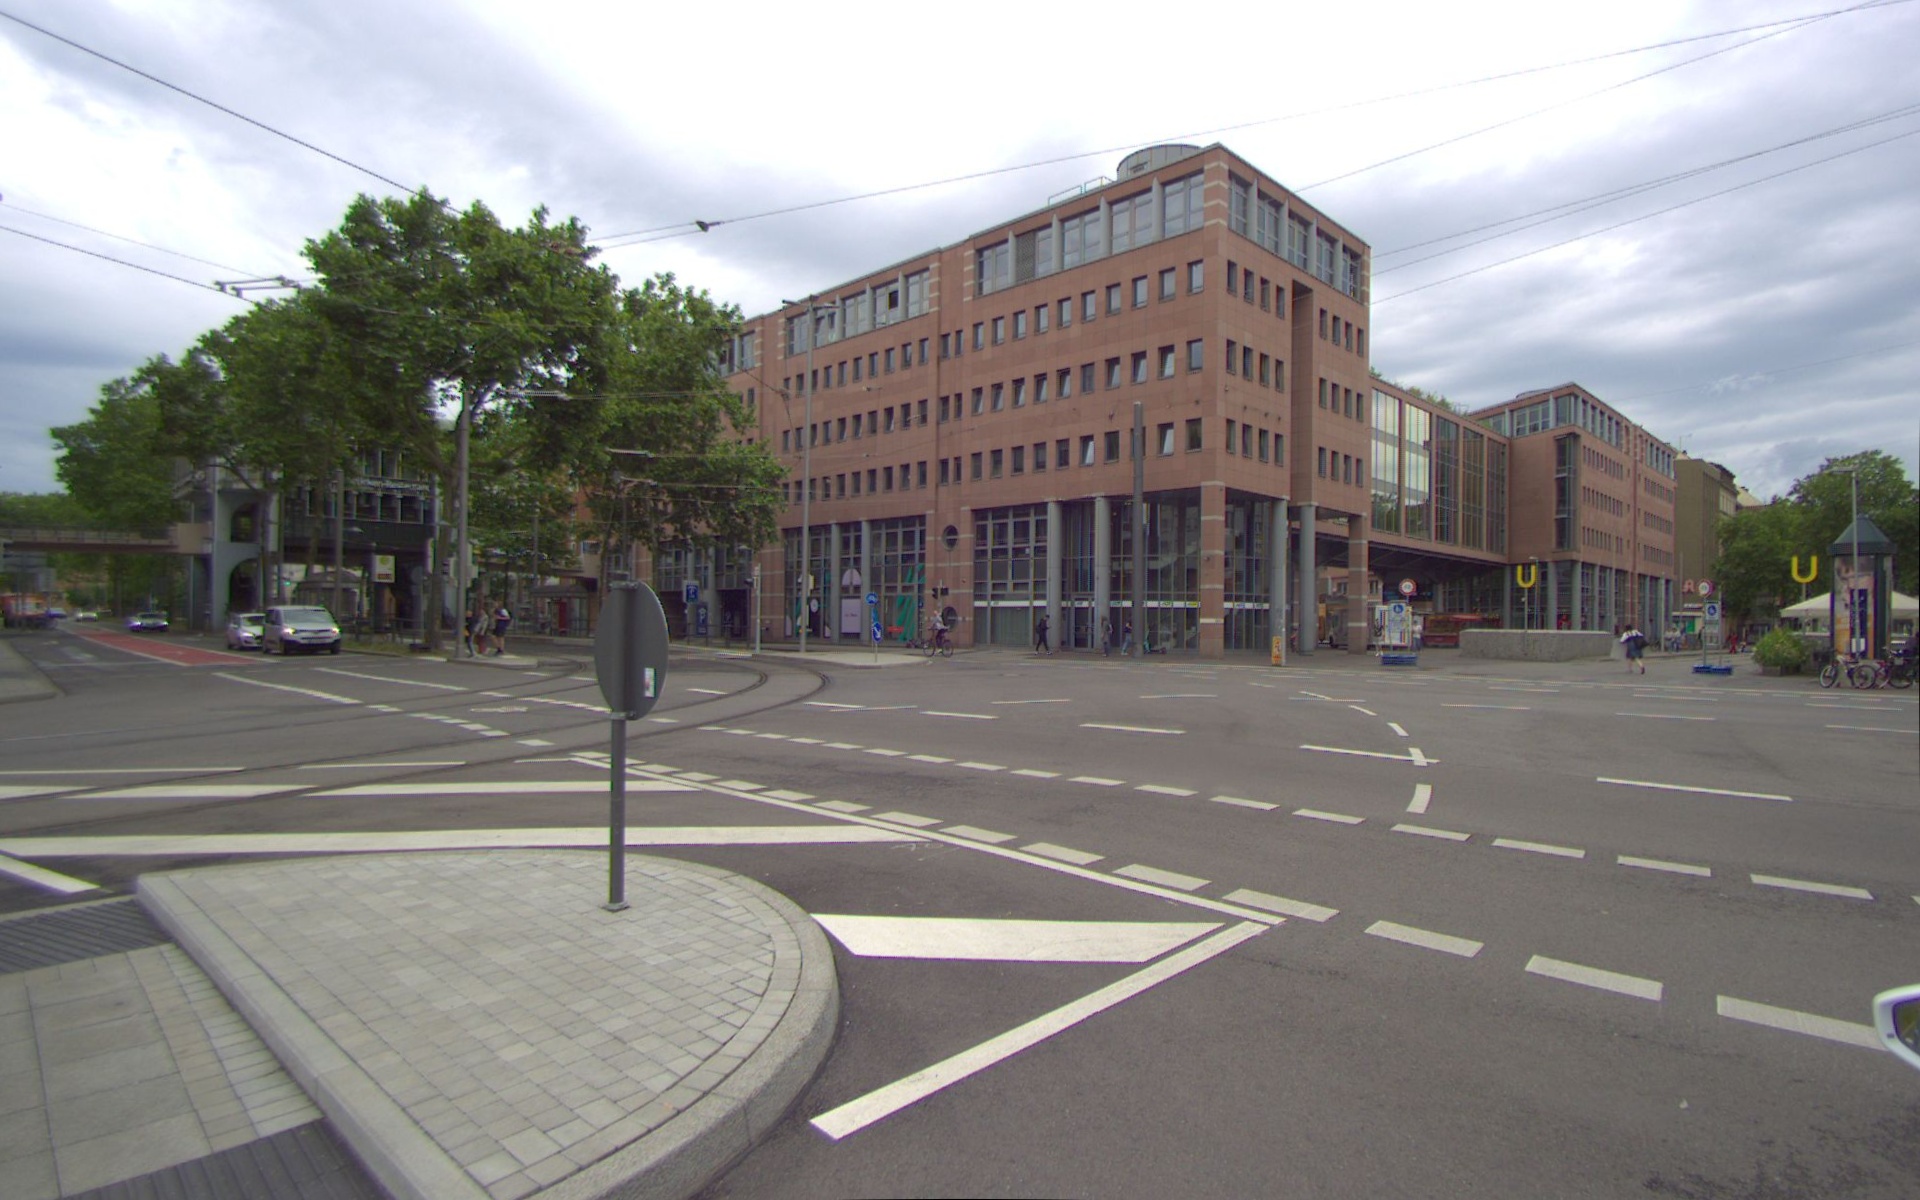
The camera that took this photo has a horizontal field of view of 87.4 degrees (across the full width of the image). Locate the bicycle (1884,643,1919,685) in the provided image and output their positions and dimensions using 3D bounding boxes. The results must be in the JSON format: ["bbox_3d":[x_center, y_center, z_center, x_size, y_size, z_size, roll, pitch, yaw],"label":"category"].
[{"bbox_3d":[26.098,1.749,27.098,0.433,1.080,1.683,2,0,-38],"label":"bicycle"}]

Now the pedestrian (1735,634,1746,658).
[{"bbox_3d":[59.055,3.482,76.005,0.593,1.737,0.653,1,0,38],"label":"pedestrian"}]

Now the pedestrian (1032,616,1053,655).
[{"bbox_3d":[3.672,1.579,44.750,0.729,1.710,0.574,2,-1,19],"label":"pedestrian"}]

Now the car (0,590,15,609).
[{"bbox_3d":[-93.564,-0.023,97.919,3.656,1.817,1.916,-1,-2,45],"label":"car"}]

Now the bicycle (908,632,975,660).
[{"bbox_3d":[-0.826,1.943,42.742,0.898,1.058,3.236,2,-1,-43],"label":"bicycle"}]

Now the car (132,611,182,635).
[{"bbox_3d":[-54.561,1.527,68.237,3.812,1.584,1.919,0,-2,40],"label":"car"}]

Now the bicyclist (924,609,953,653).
[{"bbox_3d":[-0.921,1.335,42.864,0.831,1.836,0.866,2,0,-42],"label":"bicyclist"}]

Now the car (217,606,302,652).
[{"bbox_3d":[-28.847,1.161,41.327,3.940,1.817,1.919,0,-1,40],"label":"car"}]

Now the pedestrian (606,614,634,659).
[{"bbox_3d":[-12.220,1.309,36.115,0.738,1.581,0.567,3,-2,-40],"label":"pedestrian"}]

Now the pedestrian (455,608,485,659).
[{"bbox_3d":[-15.787,1.087,32.357,0.565,1.595,0.627,1,-2,38],"label":"pedestrian"}]

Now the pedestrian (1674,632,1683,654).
[{"bbox_3d":[58.019,3.492,81.115,0.593,1.737,0.653,1,0,38],"label":"pedestrian"}]

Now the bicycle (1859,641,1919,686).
[{"bbox_3d":[26.137,1.756,27.905,1.675,1.187,0.435,1,0,39],"label":"bicycle"}]

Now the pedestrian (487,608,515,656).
[{"bbox_3d":[-15.882,1.113,34.784,0.565,1.633,0.627,1,-2,38],"label":"pedestrian"}]

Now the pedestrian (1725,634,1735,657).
[{"bbox_3d":[58.564,3.472,76.422,0.593,1.737,0.653,1,0,38],"label":"pedestrian"}]

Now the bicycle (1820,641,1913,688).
[{"bbox_3d":[25.165,1.784,27.923,1.840,1.187,0.530,1,0,32],"label":"bicycle"}]

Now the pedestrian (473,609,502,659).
[{"bbox_3d":[-15.894,1.144,33.812,0.565,1.633,0.627,1,-2,38],"label":"pedestrian"}]

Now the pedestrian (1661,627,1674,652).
[{"bbox_3d":[45.210,2.513,64.191,0.593,1.557,0.653,1,0,38],"label":"pedestrian"}]

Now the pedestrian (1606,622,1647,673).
[{"bbox_3d":[23.383,1.667,35.254,0.724,1.727,0.923,1,0,-25],"label":"pedestrian"}]

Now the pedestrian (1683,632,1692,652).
[{"bbox_3d":[63.292,3.668,87.379,0.593,1.737,0.653,1,0,38],"label":"pedestrian"}]

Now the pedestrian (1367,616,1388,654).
[{"bbox_3d":[20.663,1.733,49.726,0.728,1.866,0.694,2,0,-39],"label":"pedestrian"}]

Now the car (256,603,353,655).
[{"bbox_3d":[-24.060,1.042,36.807,3.940,1.817,1.919,0,-1,40],"label":"car"}]

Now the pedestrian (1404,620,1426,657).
[{"bbox_3d":[23.574,1.988,52.019,0.724,1.866,0.698,1,0,-25],"label":"pedestrian"}]

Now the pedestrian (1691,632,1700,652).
[{"bbox_3d":[64.882,3.736,88.628,0.593,1.737,0.653,1,0,38],"label":"pedestrian"}]

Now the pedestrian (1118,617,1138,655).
[{"bbox_3d":[7.230,1.544,43.296,0.729,1.581,0.574,2,-1,19],"label":"pedestrian"}]

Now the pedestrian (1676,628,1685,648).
[{"bbox_3d":[66.515,3.503,92.737,0.593,1.737,0.653,1,0,38],"label":"pedestrian"}]

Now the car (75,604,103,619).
[{"bbox_3d":[-92.352,1.203,106.456,3.651,1.568,1.671,0,-1,40],"label":"car"}]
